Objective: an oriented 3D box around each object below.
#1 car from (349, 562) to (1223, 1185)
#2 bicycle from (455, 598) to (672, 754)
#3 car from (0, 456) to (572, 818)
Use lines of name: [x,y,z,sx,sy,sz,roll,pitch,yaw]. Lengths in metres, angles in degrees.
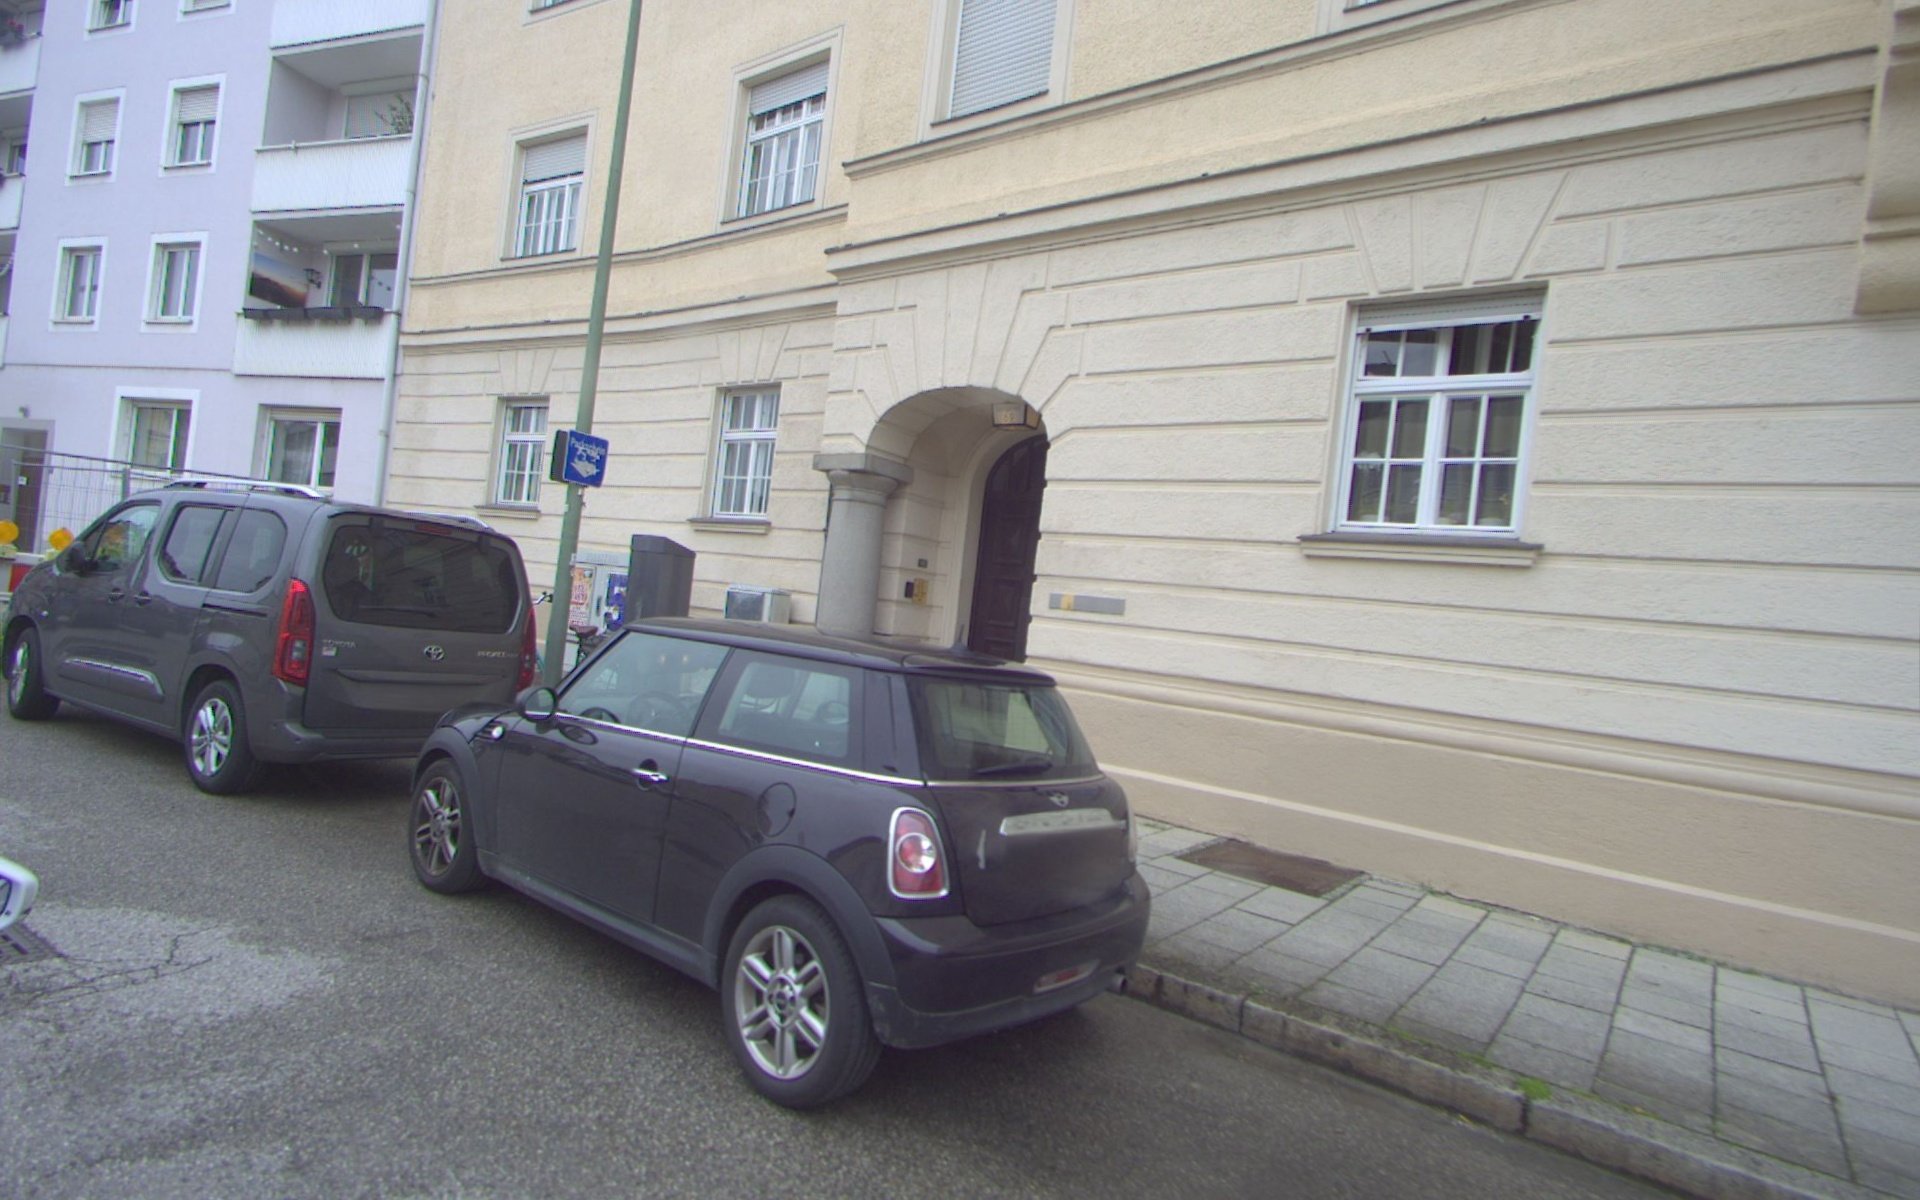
car: [-1.014,0.783,4.549,3.774,1.463,1.708,6,-3,39]
bicycle: [-3.381,0.609,8.501,1.921,1.026,0.580,7,-1,32]
car: [-5.019,0.138,7.164,4.203,1.827,1.782,6,-2,30]
